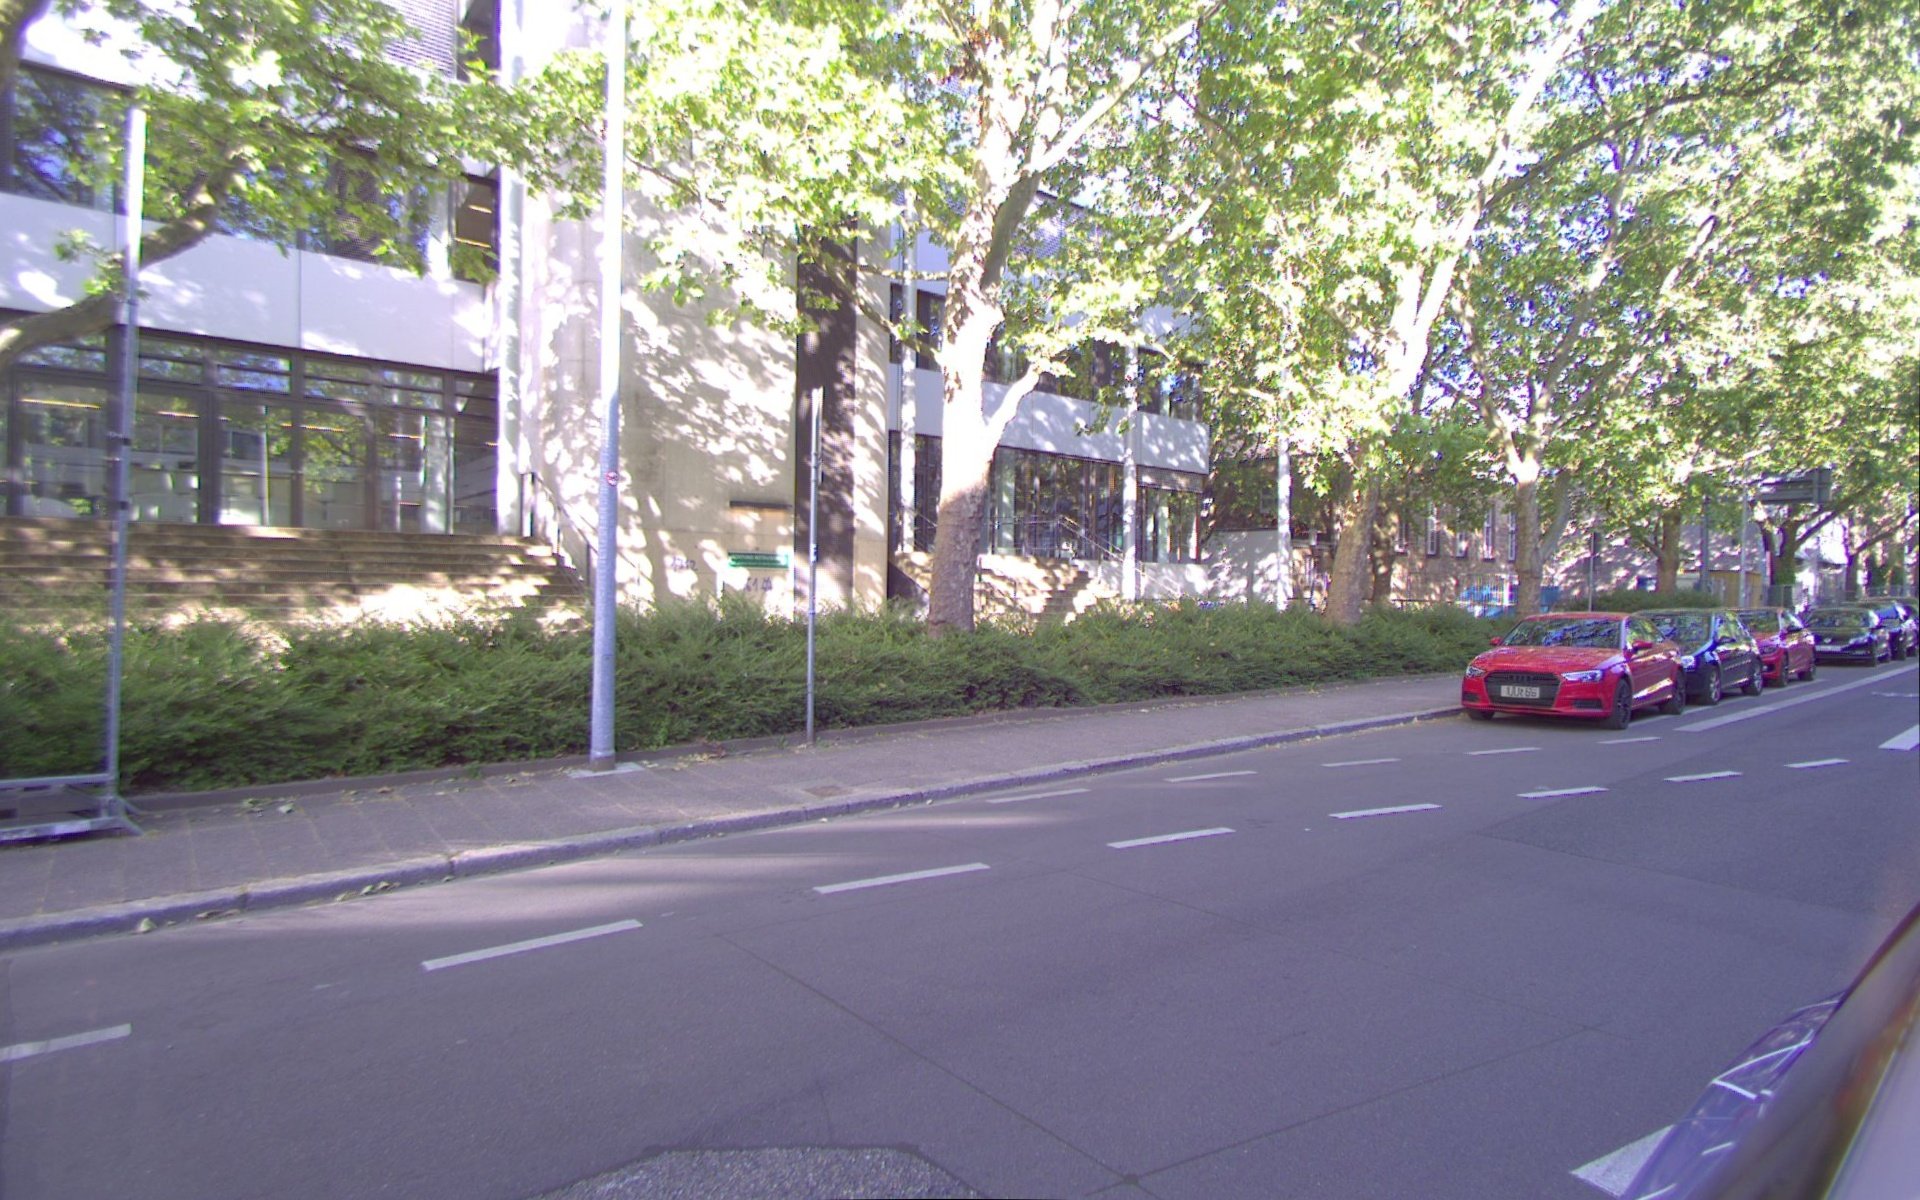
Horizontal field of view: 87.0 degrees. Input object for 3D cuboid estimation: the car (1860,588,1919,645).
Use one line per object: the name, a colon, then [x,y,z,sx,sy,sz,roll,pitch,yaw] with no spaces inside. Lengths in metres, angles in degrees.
car: [31.082,0.486,33.061,4.188,1.747,1.997,-1,0,-41]

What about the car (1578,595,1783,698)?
car: [11.945,0.676,16.695,3.929,1.475,1.812,0,1,-40]

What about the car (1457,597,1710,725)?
car: [8.387,0.690,13.479,4.101,1.443,1.773,0,-1,-42]

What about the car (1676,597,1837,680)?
car: [15.779,0.675,19.994,3.930,1.456,1.789,0,1,-41]

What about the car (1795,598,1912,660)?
car: [22.984,0.685,26.002,3.930,1.456,1.744,0,1,-41]

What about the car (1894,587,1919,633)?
car: [35.741,0.367,37.082,4.004,1.638,1.797,0,1,-41]

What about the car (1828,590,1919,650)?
car: [26.648,0.529,29.200,4.158,1.601,1.847,0,1,-41]
